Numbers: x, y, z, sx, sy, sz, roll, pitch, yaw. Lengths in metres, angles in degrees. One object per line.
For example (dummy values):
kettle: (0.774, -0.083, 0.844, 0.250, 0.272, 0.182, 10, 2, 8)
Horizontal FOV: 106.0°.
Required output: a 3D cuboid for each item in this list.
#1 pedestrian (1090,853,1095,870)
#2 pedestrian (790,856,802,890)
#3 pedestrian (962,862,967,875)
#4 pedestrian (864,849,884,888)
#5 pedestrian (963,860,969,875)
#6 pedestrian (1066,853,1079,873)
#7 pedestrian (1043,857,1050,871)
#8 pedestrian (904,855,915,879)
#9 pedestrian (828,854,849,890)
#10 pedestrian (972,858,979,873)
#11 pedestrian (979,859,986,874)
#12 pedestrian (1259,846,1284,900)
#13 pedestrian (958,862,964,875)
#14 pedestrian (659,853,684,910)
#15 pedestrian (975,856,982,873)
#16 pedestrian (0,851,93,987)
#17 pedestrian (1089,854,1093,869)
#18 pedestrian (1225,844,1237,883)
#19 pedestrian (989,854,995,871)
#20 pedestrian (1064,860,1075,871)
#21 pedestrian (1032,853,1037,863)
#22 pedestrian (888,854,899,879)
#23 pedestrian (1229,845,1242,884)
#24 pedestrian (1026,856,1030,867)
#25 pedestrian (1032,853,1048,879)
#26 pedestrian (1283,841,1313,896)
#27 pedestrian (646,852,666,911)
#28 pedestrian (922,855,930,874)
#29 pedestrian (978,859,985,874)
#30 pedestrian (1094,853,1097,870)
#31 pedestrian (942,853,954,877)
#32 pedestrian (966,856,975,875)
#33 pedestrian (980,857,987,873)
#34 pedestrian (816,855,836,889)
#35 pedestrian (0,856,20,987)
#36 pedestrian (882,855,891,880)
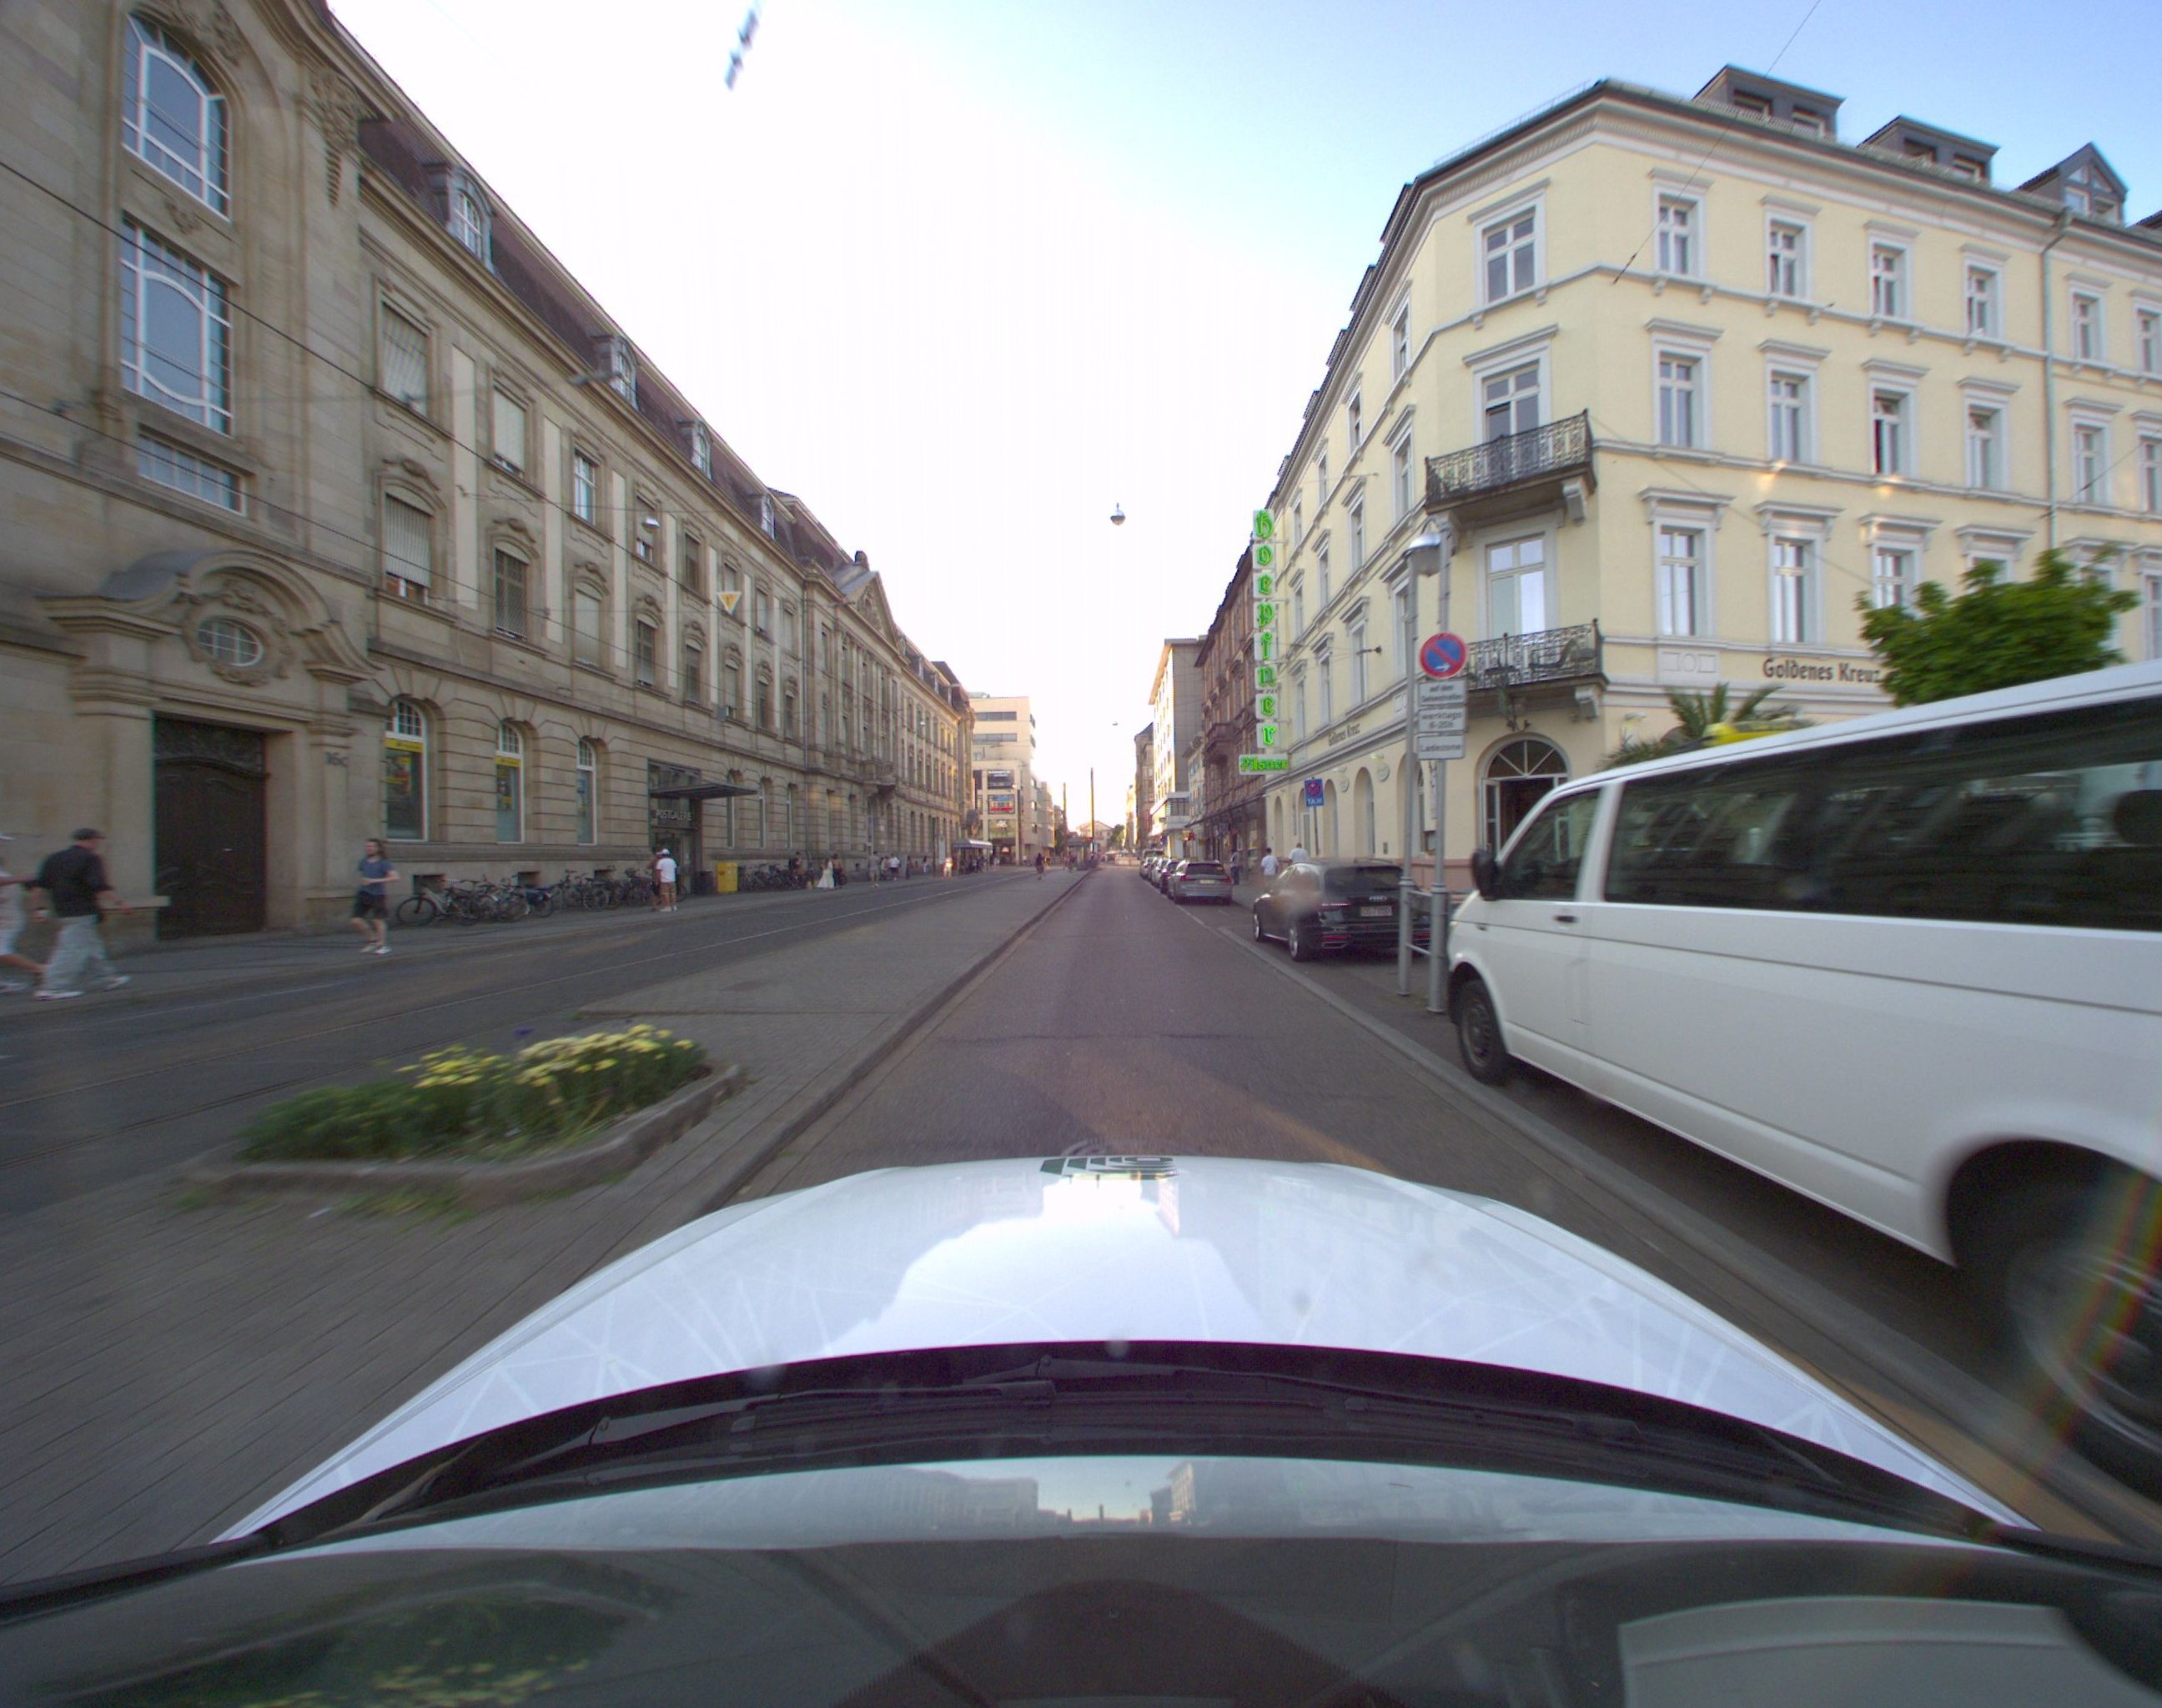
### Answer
pedestrian: (1.169, 0.751, 83.274, 0.410, 1.767, 0.594, 0, -1, 0)
pedestrian: (-13.681, 0.899, 39.065, 0.362, 1.633, 0.430, 0, -1, 7)
pedestrian: (-9.641, 1.191, 67.418, 0.362, 1.103, 0.430, 0, -1, 7)
pedestrian: (-9.872, 0.686, 38.908, 0.690, 1.813, 0.815, -1, -1, 1)
pedestrian: (-9.656, 1.133, 68.266, 0.362, 1.200, 0.430, 0, -1, 7)
pedestrian: (-0.704, 0.750, 66.763, 0.679, 1.638, 0.866, -1, -1, 42)
pedestrian: (-4.511, 1.319, 107.163, 0.695, 1.815, 0.854, 0, -1, 10)
pedestrian: (-11.497, 0.896, 54.722, 0.565, 1.605, 0.443, 0, -1, 27)
pedestrian: (-11.563, 0.845, 38.829, 0.690, 1.712, 0.815, -1, -1, 1)
pedestrian: (-9.556, 1.073, 73.743, 0.515, 1.327, 0.639, -1, -1, 5)
pedestrian: (-9.305, 1.179, 77.117, 0.515, 1.327, 0.639, -1, -1, 5)
pedestrian: (6.085, 0.602, 26.056, 0.614, 1.689, 0.488, -6, -1, 13)
pedestrian: (-9.816, 1.183, 66.836, 0.362, 1.103, 0.430, 0, -1, 7)
pedestrian: (-11.696, 0.779, 23.262, 0.371, 1.631, 0.496, -1, -1, 42)
pedestrian: (-10.097, 1.058, 80.303, 0.515, 1.646, 0.639, -1, -1, 5)
pedestrian: (-12.498, 0.753, 9.681, 0.657, 1.562, 0.679, -1, -1, -2)
pedestrian: (1.044, 0.776, 86.289, 0.384, 1.642, 0.549, 0, -1, 0)
pedestrian: (6.875, 0.447, 37.416, 0.372, 1.768, 0.455, -3, -1, -2)
pedestrian: (-9.177, 0.852, 84.010, 0.558, 1.776, 0.468, -1, -1, -3)
pedestrian: (-1.029, 1.009, 71.838, 0.791, 0.939, 0.697, -1, -1, 24)
pedestrian: (-8.007, 0.659, 141.041, 0.644, 1.674, 0.532, -1, -1, 10)
pedestrian: (-12.157, 0.795, 52.793, 0.473, 1.642, 0.563, 0, -1, 7)
pedestrian: (6.999, 0.478, 36.894, 0.372, 1.768, 0.663, -3, -1, -2)
pedestrian: (-9.304, 1.309, 142.752, 0.569, 1.855, 0.819, 0, -1, 13)
pedestrian: (-2.381, 0.695, 47.508, 0.843, 1.501, 0.901, -1, -1, 1)
pedestrian: (6.860, 0.454, 25.800, 0.754, 1.689, 0.553, -6, -1, 12)
pedestrian: (-12.237, 0.780, 23.446, 0.376, 1.673, 0.491, 0, -1, -15)
pedestrian: (-13.321, 0.909, 69.987, 0.660, 1.562, 0.677, -1, -1, -13)
pedestrian: (-9.329, 1.169, 76.349, 0.515, 1.327, 0.639, -1, -1, 5)
pedestrian: (1.594, 0.813, 89.099, 0.340, 1.796, 0.544, 0, -1, 0)
pedestrian: (-8.754, 0.714, 53.695, 0.657, 1.562, 0.680, -1, -1, 1)
pedestrian: (-9.653, 1.042, 71.308, 0.513, 1.650, 0.641, -1, -1, 24)
pedestrian: (-9.725, 1.086, 81.061, 0.515, 1.569, 0.639, -1, -1, 5)
pedestrian: (-11.130, 0.770, 35.585, 0.690, 1.466, 0.556, -1, -1, 1)
pedestrian: (-13.211, 0.811, 9.538, 0.657, 1.562, 0.679, -1, -1, -2)
pedestrian: (-12.604, 0.886, 52.814, 0.333, 1.642, 0.607, 0, -1, 9)
